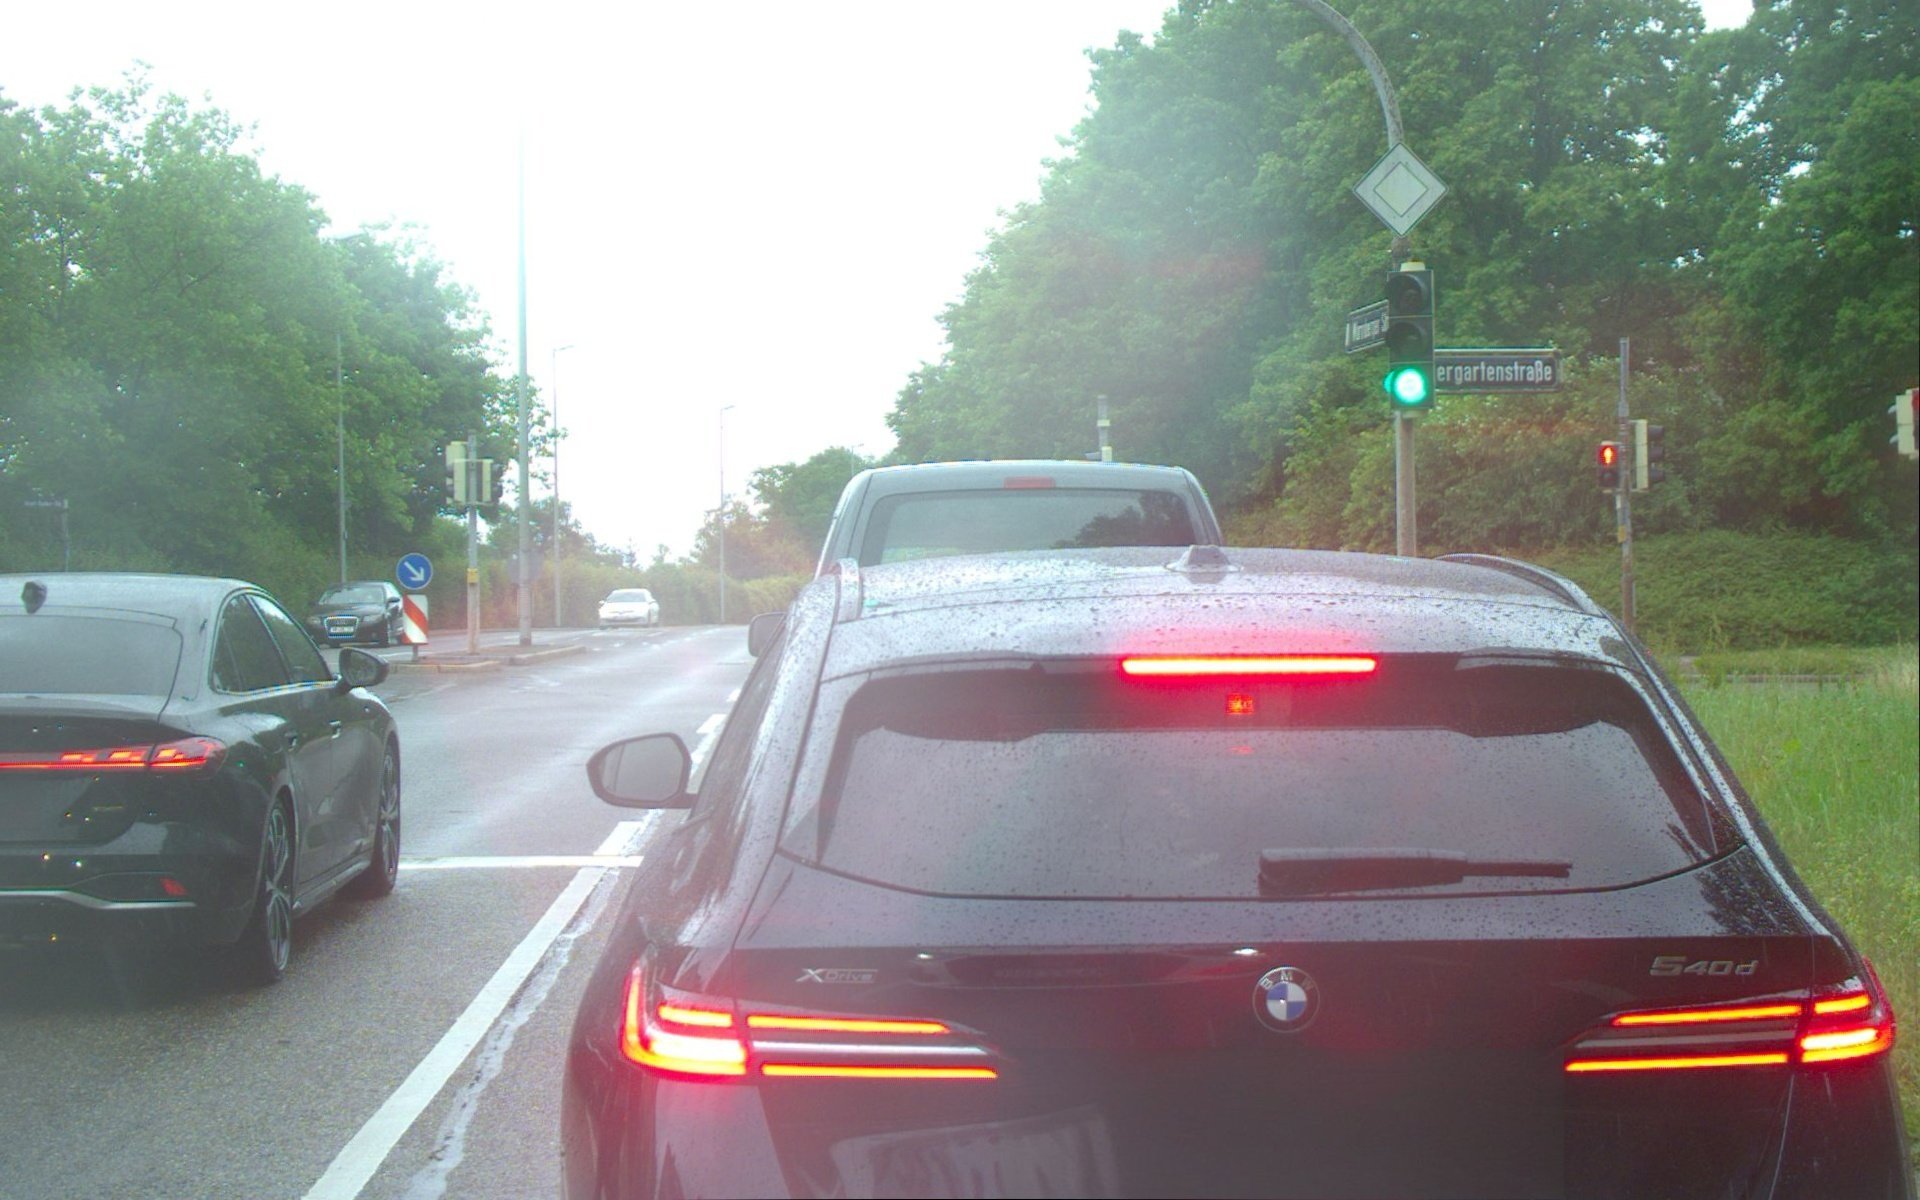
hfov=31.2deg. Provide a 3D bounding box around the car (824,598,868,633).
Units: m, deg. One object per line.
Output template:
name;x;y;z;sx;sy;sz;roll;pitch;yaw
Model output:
car;-5.425;0.738;163.381;2.025;1.558;3.877;-2;0;-2

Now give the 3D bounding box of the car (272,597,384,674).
car;-13.408;0.738;73.144;1.862;1.487;3.834;-1;1;-4

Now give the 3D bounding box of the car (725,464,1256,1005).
car;0.078;0.406;13.459;1.767;1.804;3.905;0;1;-1

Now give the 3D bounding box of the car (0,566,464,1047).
car;-3.163;0.616;12.846;2.014;1.410;4.487;0;1;-1

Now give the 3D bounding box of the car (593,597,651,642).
car;-12.138;0.683;123.718;1.727;1.480;4.157;-2;1;-2

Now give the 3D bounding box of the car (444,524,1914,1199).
car;0.241;0.667;5.971;1.764;1.531;3.673;0;0;-1
